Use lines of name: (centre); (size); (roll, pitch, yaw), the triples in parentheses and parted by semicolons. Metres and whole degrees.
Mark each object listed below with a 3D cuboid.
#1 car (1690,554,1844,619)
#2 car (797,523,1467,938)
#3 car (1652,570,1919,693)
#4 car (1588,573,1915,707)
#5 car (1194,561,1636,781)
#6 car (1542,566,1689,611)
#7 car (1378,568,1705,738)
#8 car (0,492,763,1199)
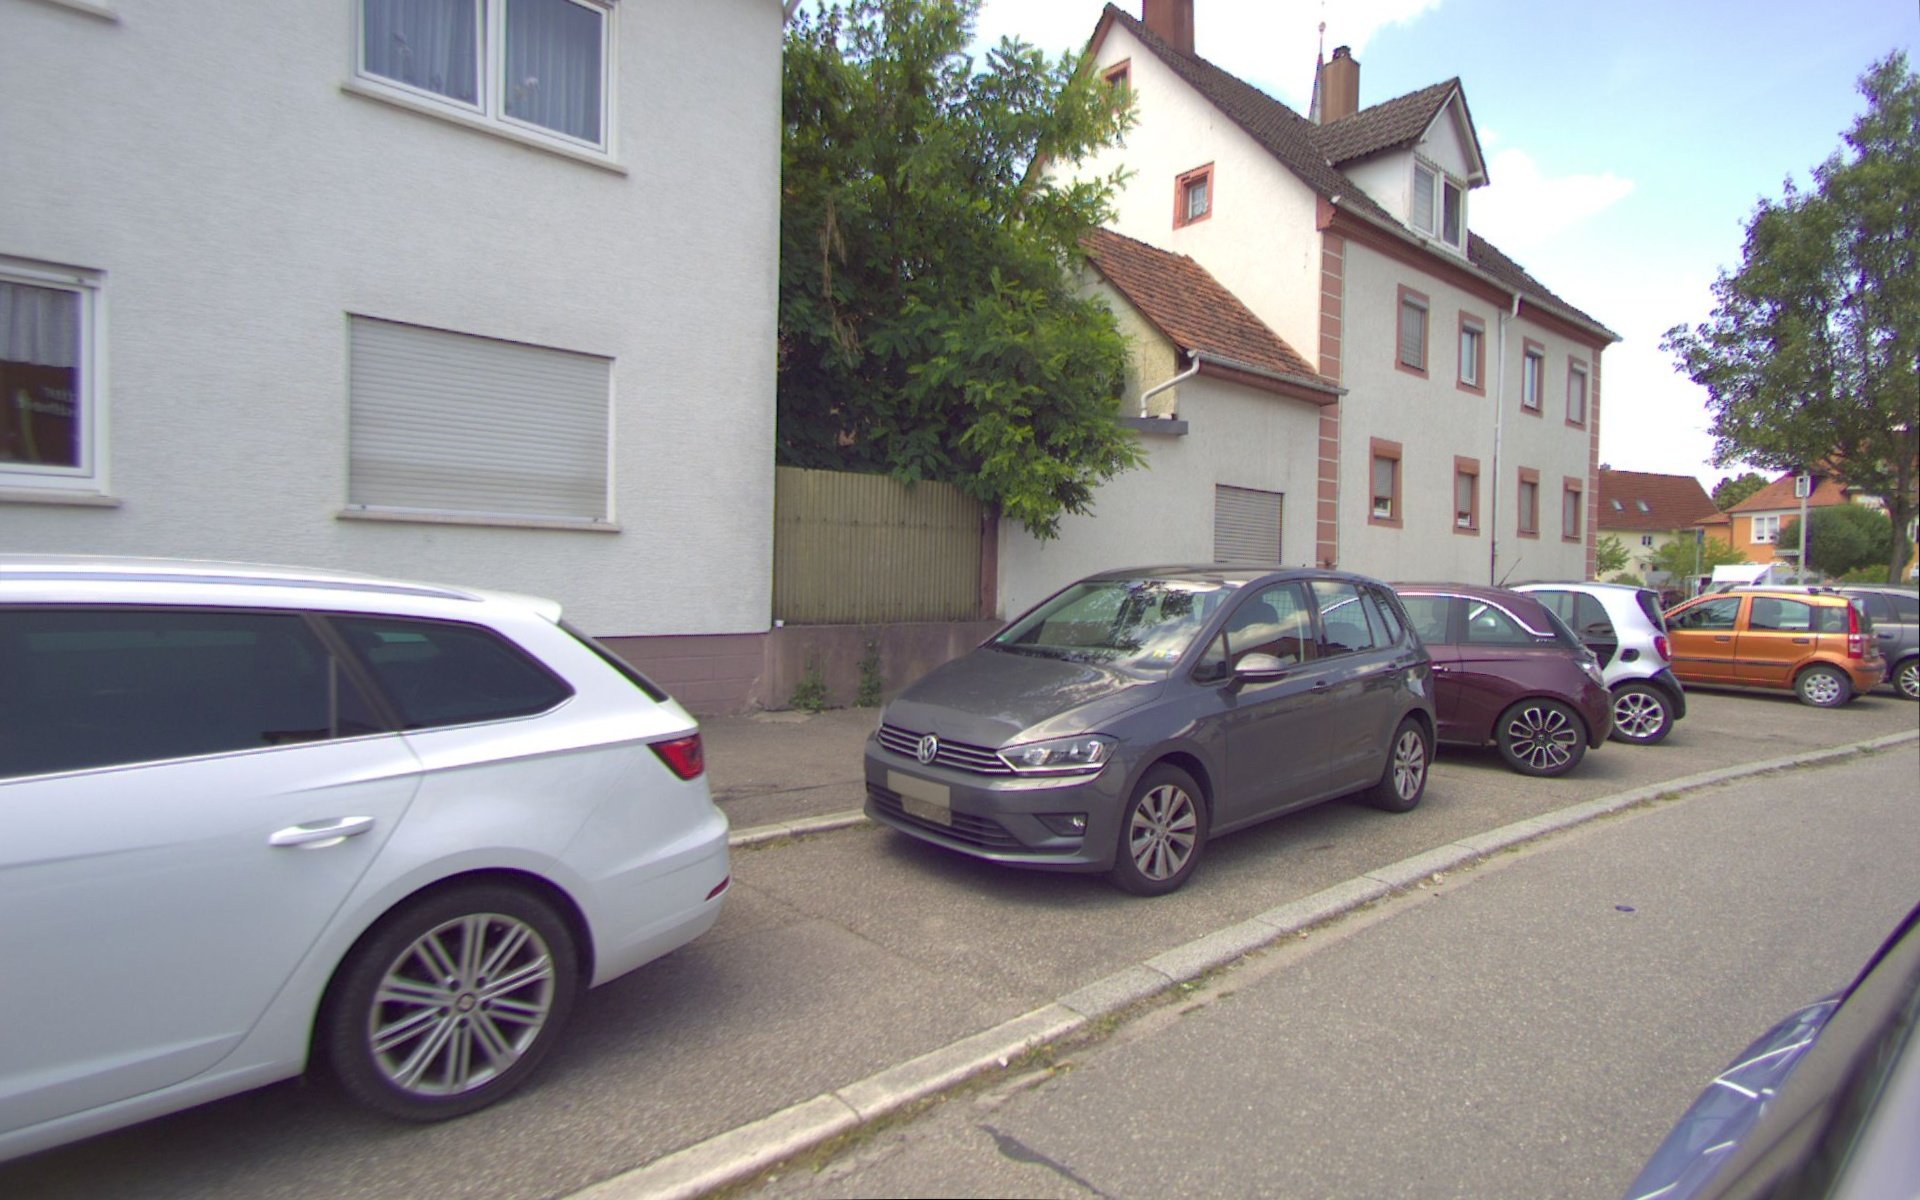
car: (39.442, -0.693, 49.456); (6.965, 2.999, 2.768); (0, 2, -22)
car: (1.273, 0.481, 6.026); (4.198, 1.644, 1.665); (0, 2, -42)
car: (13.228, 0.422, 15.616); (1.819, 1.596, 3.854); (0, 3, -43)
car: (11.226, 0.459, 14.518); (1.695, 1.596, 3.385); (0, 3, -39)
car: (3.899, 0.491, 9.039); (3.202, 1.523, 1.812); (3, 2, 24)
car: (39.291, -0.724, 60.873); (6.845, 2.508, 2.649); (1, 1, 7)
car: (6.031, 0.451, 10.796); (2.761, 1.523, 1.861); (2, 2, 27)
car: (-2.868, 0.524, 2.499); (4.299, 1.536, 1.995); (-1, 2, -44)
